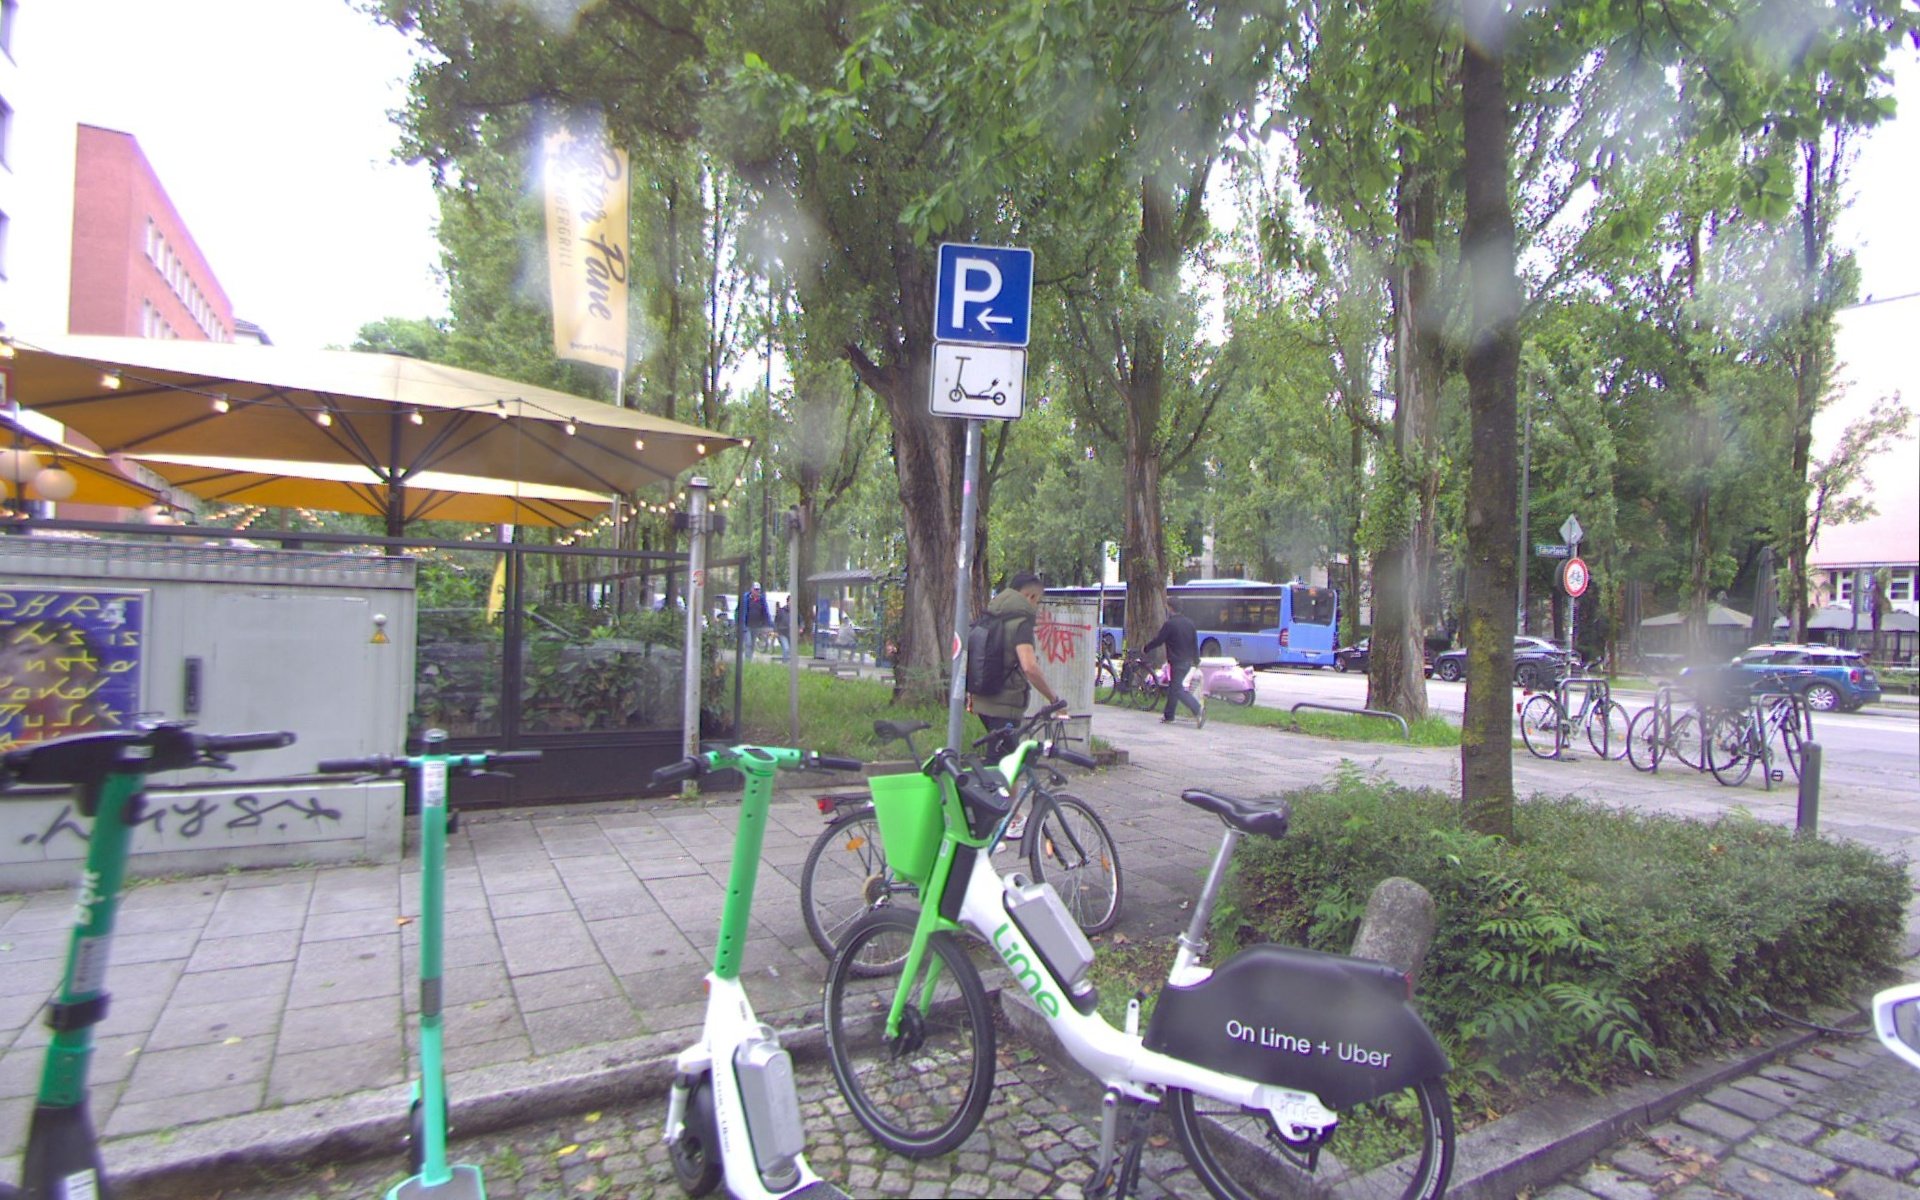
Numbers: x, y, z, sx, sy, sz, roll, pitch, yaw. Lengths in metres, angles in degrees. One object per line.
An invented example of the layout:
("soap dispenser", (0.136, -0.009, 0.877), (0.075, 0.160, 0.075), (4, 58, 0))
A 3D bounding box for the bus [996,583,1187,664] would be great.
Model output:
("bus", (5.369, 0.982, 43.495), (2.893, 3.092, 9.717), (2, -2, -30))

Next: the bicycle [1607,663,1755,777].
("bicycle", (7.612, 1.245, 10.586), (1.680, 1.108, 0.488), (2, -1, -25))

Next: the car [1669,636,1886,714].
("car", (21.350, 1.922, 26.401), (1.773, 1.754, 4.045), (4, -2, -30))

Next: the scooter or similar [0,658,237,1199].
("scooter or similar", (-1.904, 0.783, 1.929), (1.229, 1.290, 0.327), (1, -1, 30))

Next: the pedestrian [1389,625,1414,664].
("pedestrian", (20.186, 2.034, 45.941), (0.700, 1.736, 0.726), (2, -1, -28))

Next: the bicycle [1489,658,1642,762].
("bicycle", (6.986, 1.246, 11.560), (1.957, 1.108, 0.488), (2, -1, -25))

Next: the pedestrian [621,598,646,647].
("pedestrian", (-11.708, 0.816, 36.024), (0.726, 1.715, 0.643), (2, -1, -25))

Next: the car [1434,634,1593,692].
("car", (17.768, 1.976, 32.462), (1.772, 1.622, 4.205), (2, -1, -29))

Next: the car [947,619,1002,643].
("car", (0.892, 1.961, 64.157), (1.772, 1.430, 3.852), (2, -1, -29))

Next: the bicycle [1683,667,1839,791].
("bicycle", (7.845, 1.236, 9.823), (1.680, 1.108, 0.488), (2, -1, -25))

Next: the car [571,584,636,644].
("car", (-19.676, 0.760, 55.293), (2.175, 3.057, 5.950), (2, -1, -31))

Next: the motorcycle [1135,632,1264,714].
("motorcycle", (3.833, 1.139, 16.079), (1.951, 1.211, 0.630), (1, -1, 17))

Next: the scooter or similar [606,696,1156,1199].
("scooter or similar", (-0.266, 0.872, 2.430), (1.407, 1.159, 0.368), (1, -1, 37))

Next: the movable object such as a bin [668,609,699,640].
("movable object such as a bin", (-12.340, 1.091, 44.853), (1.052, 1.329, 0.975), (2, -1, -32))

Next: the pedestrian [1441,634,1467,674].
("pedestrian", (21.806, 2.382, 44.306), (0.700, 1.736, 0.726), (2, -1, -28))

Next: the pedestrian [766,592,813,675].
("pedestrian", (-3.681, 0.713, 21.702), (0.635, 1.750, 0.701), (1, -1, 37))

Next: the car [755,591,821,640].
("car", (-10.176, 0.895, 59.077), (2.021, 2.687, 5.996), (1, -1, -29))

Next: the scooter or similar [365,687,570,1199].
("scooter or similar", (-1.230, 0.839, 2.454), (0.323, 1.159, 1.241), (2, -1, -29))

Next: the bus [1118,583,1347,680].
("bus", (9.476, 1.084, 36.190), (2.892, 3.092, 8.453), (2, -2, -29))

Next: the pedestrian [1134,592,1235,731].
("pedestrian", (2.946, 0.794, 13.228), (0.849, 1.734, 0.951), (2, -2, -31))

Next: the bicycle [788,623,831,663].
("bicycle", (-4.869, 1.376, 32.396), (0.576, 1.204, 2.124), (2, -1, -30))

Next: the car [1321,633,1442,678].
("car", (15.443, 2.024, 36.995), (1.772, 1.430, 3.852), (2, -1, -29))

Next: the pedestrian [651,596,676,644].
("pedestrian", (-10.785, 0.726, 36.499), (0.726, 1.715, 0.643), (2, -1, -25))

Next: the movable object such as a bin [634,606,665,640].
("movable object such as a bin", (-13.450, 1.012, 43.537), (1.052, 1.423, 0.975), (2, -1, -32))

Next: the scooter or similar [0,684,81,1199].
("scooter or similar", (-2.423, 0.783, 1.756), (0.383, 1.195, 1.249), (1, -1, 28))

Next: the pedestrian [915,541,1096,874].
("pedestrian", (0.252, 0.581, 5.903), (0.697, 1.796, 0.746), (2, 1, -30))

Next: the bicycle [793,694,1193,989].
("bicycle", (0.194, 0.969, 4.459), (1.743, 1.035, 0.549), (2, -1, -32))

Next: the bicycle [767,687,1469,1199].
("bicycle", (0.356, 0.878, 2.664), (1.731, 1.158, 0.553), (1, -1, 30))

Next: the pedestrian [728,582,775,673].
("pedestrian", (-4.535, 0.591, 21.856), (0.635, 1.933, 0.701), (1, -1, 37))

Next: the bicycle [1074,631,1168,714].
("bicycle", (2.532, 1.120, 15.967), (0.576, 1.204, 1.603), (2, -1, -29))
